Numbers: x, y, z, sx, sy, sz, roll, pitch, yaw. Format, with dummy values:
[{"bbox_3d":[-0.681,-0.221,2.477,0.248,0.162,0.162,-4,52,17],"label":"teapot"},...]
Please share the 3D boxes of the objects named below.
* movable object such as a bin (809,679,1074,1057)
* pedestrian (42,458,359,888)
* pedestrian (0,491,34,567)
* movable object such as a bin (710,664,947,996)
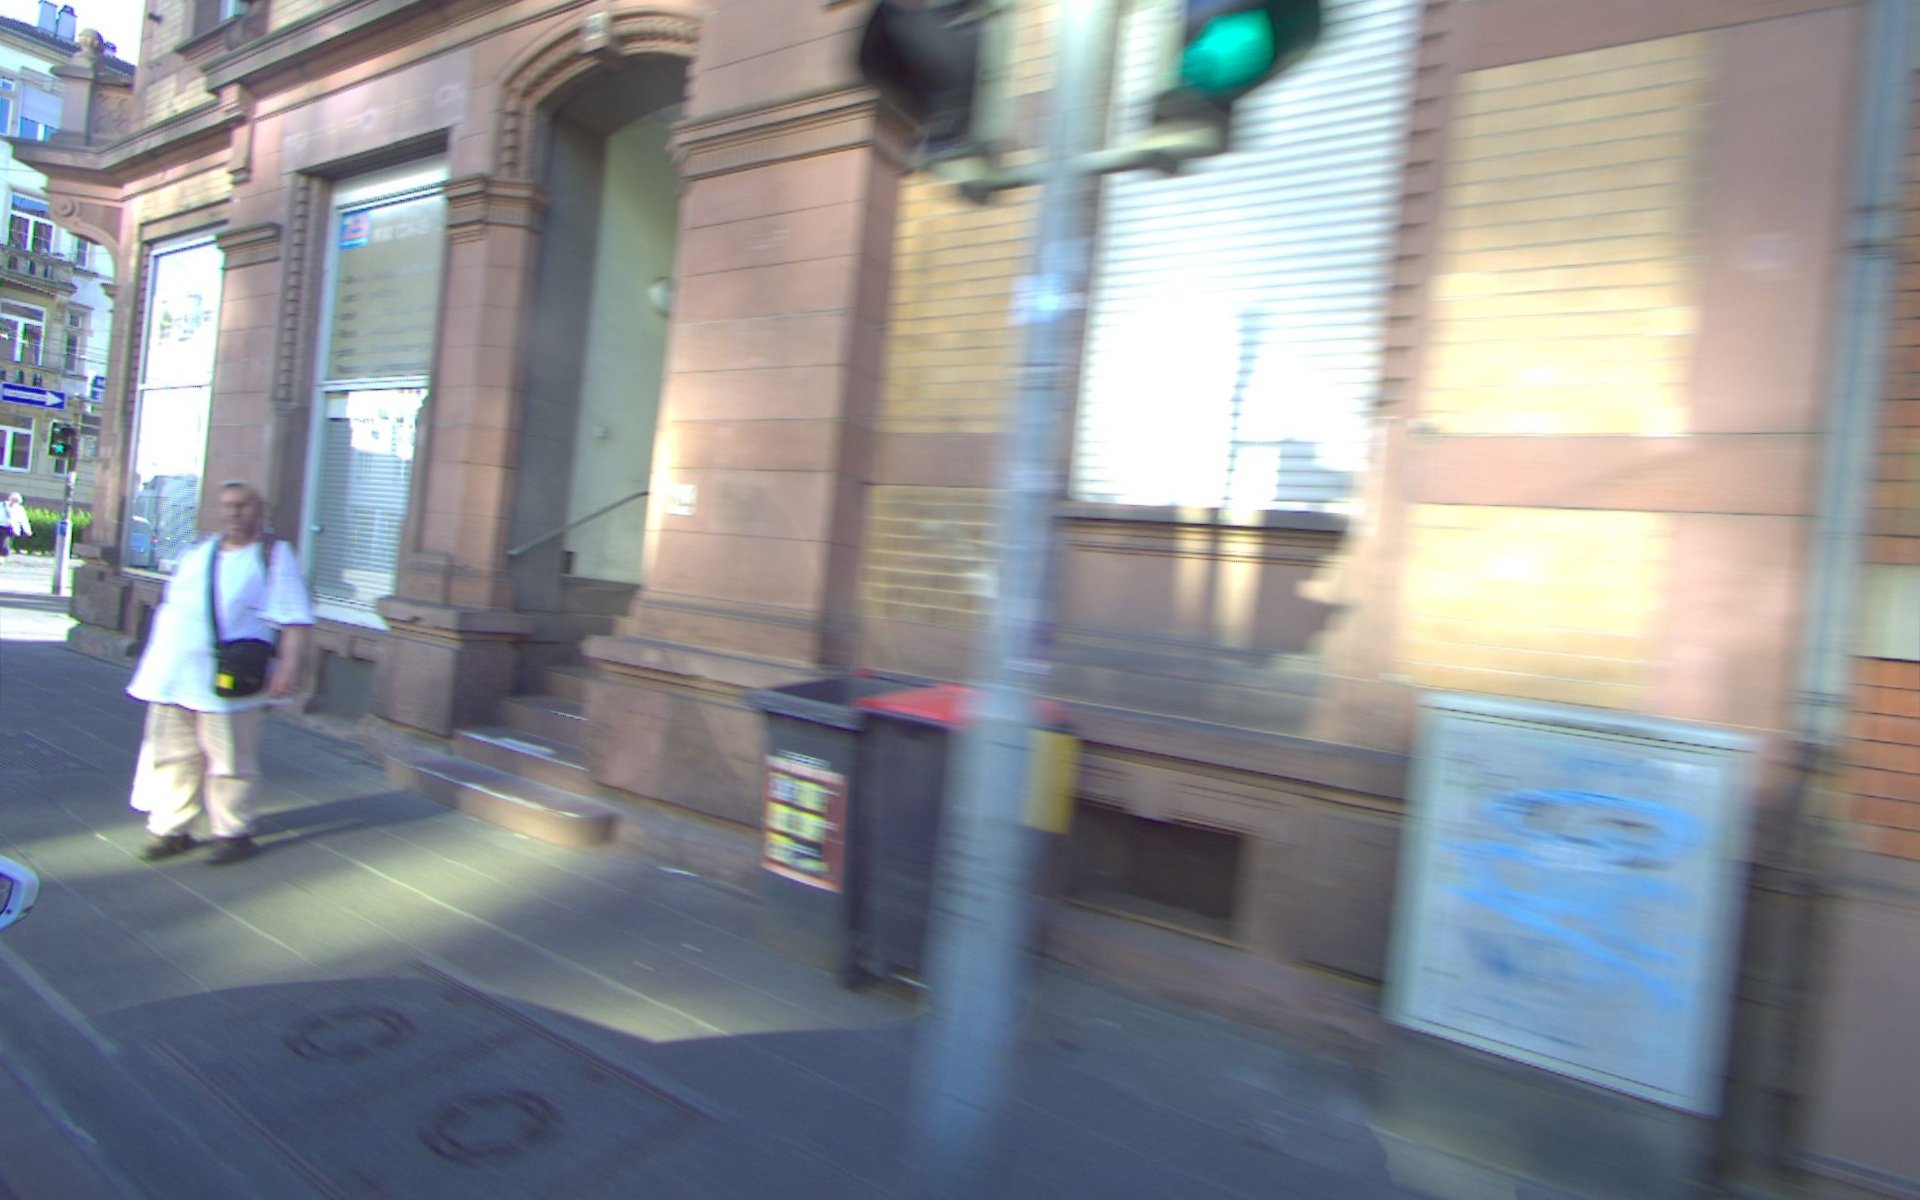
[{"bbox_3d":[-0.056,0.868,3.547,0.581,1.087,0.662,6,3,35],"label":"movable object such as a bin"},{"bbox_3d":[-3.228,0.284,4.319,0.717,1.627,0.683,6,0,18],"label":"pedestrian"},{"bbox_3d":[-21.892,-1.637,23.029,0.919,1.652,0.997,5,0,-42],"label":"pedestrian"},{"bbox_3d":[-0.501,0.827,3.910,0.536,1.087,0.662,6,3,35],"label":"movable object such as a bin"}]
